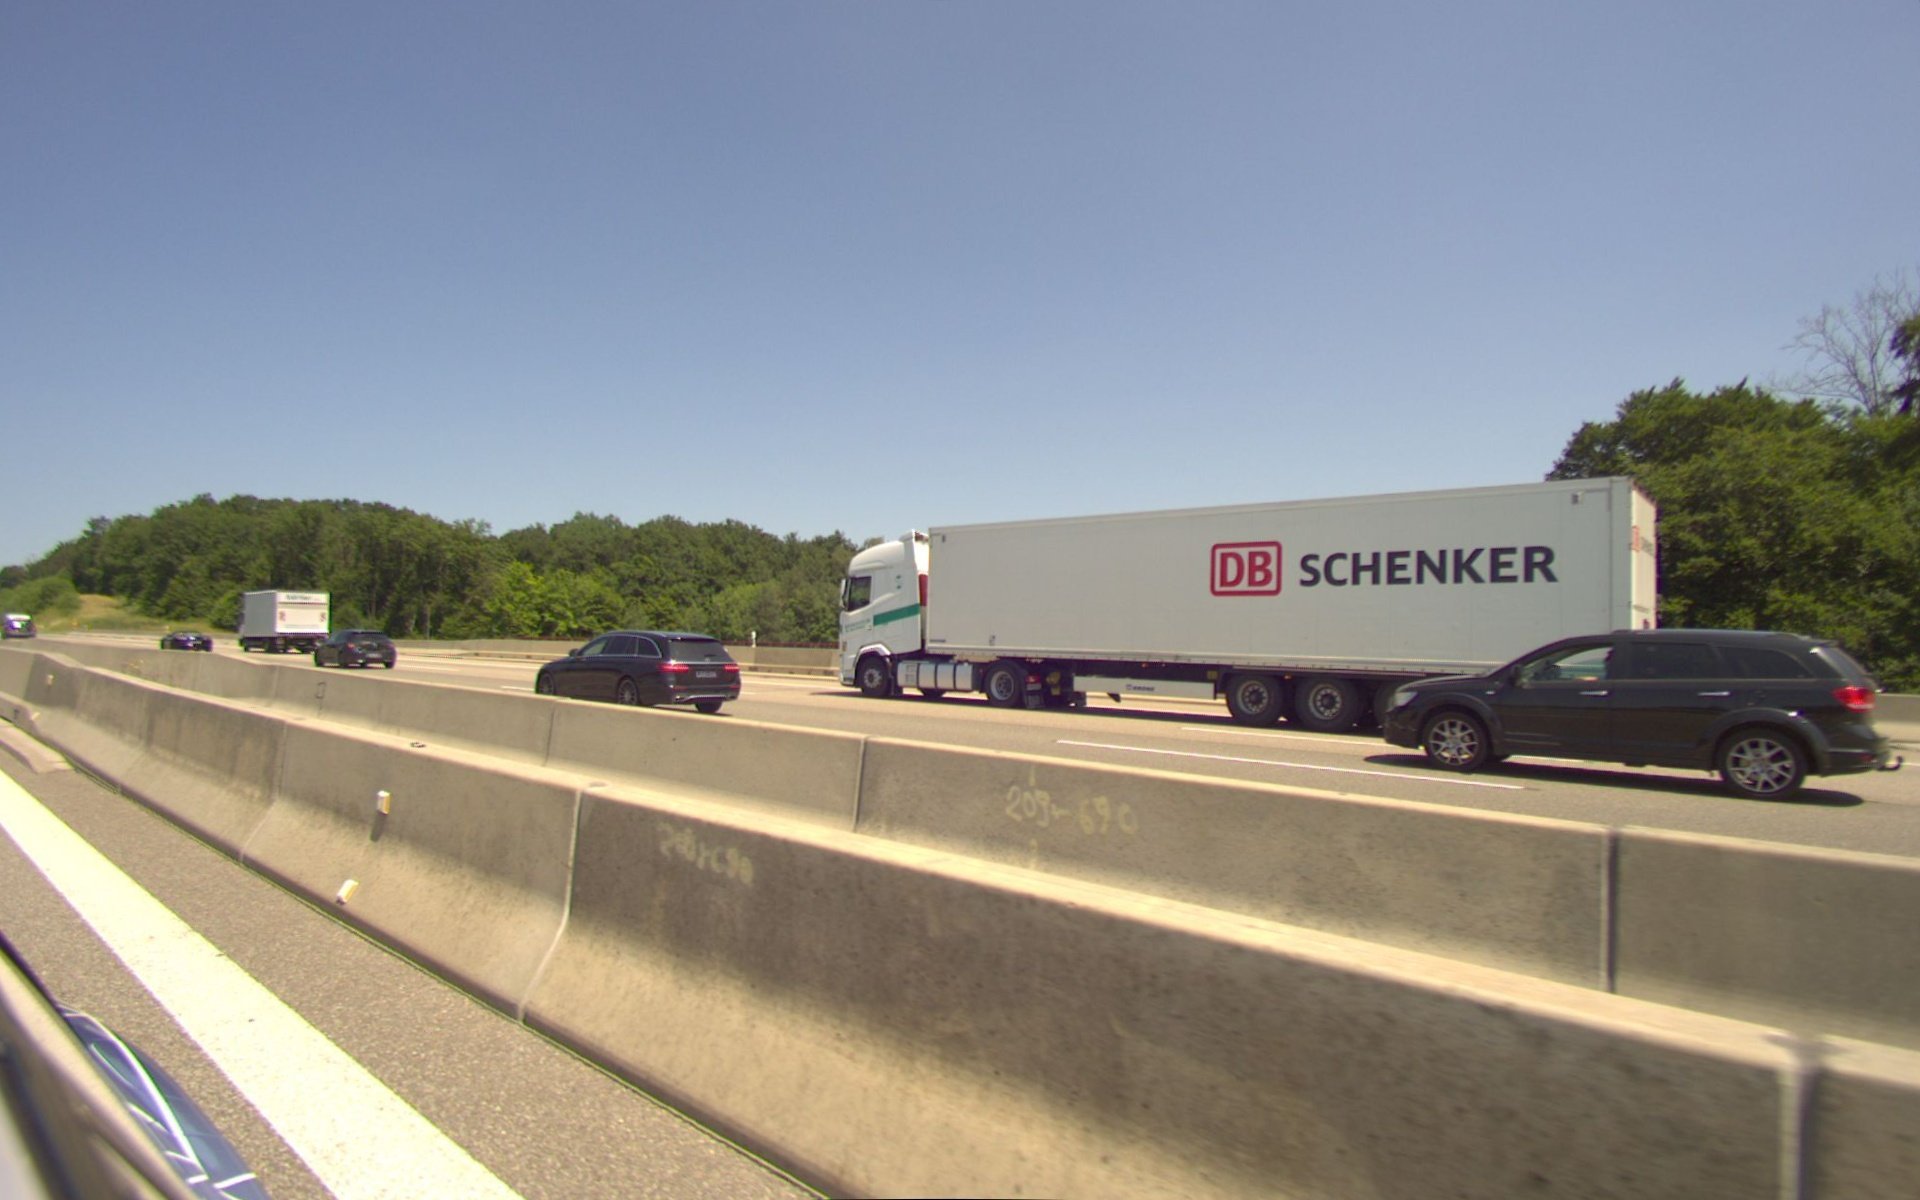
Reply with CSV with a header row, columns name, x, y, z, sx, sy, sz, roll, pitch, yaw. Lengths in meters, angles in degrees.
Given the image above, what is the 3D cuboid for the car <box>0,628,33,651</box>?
name,x,y,z,sx,sy,sz,roll,pitch,yaw
car,-74.564,3.068,79.597,4.922,1.747,1.973,-2,-2,41

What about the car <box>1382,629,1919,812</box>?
name,x,y,z,sx,sy,sz,roll,pitch,yaw
car,7.655,1.178,11.395,5.077,1.655,1.779,-1,-3,41

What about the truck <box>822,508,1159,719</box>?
name,x,y,z,sx,sy,sz,roll,pitch,yaw
truck,0.470,0.407,23.451,7.873,4.131,2.687,-2,-4,41

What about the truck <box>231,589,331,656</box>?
name,x,y,z,sx,sy,sz,roll,pitch,yaw
truck,-39.293,1.364,58.418,8.571,3.598,2.513,-2,-4,41

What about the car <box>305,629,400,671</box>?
name,x,y,z,sx,sy,sz,roll,pitch,yaw
car,-22.792,1.856,37.925,4.395,1.492,1.779,-2,-4,41

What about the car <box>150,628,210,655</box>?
name,x,y,z,sx,sy,sz,roll,pitch,yaw
car,-43.036,2.266,55.805,4.529,1.386,1.779,-1,-2,41

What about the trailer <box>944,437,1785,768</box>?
name,x,y,z,sx,sy,sz,roll,pitch,yaw
trailer,5.910,0.226,18.711,14.354,4.257,2.615,-2,-4,41

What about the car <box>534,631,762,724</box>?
name,x,y,z,sx,sy,sz,roll,pitch,yaw
car,-5.819,1.336,18.567,4.718,1.492,1.779,-2,-4,41
